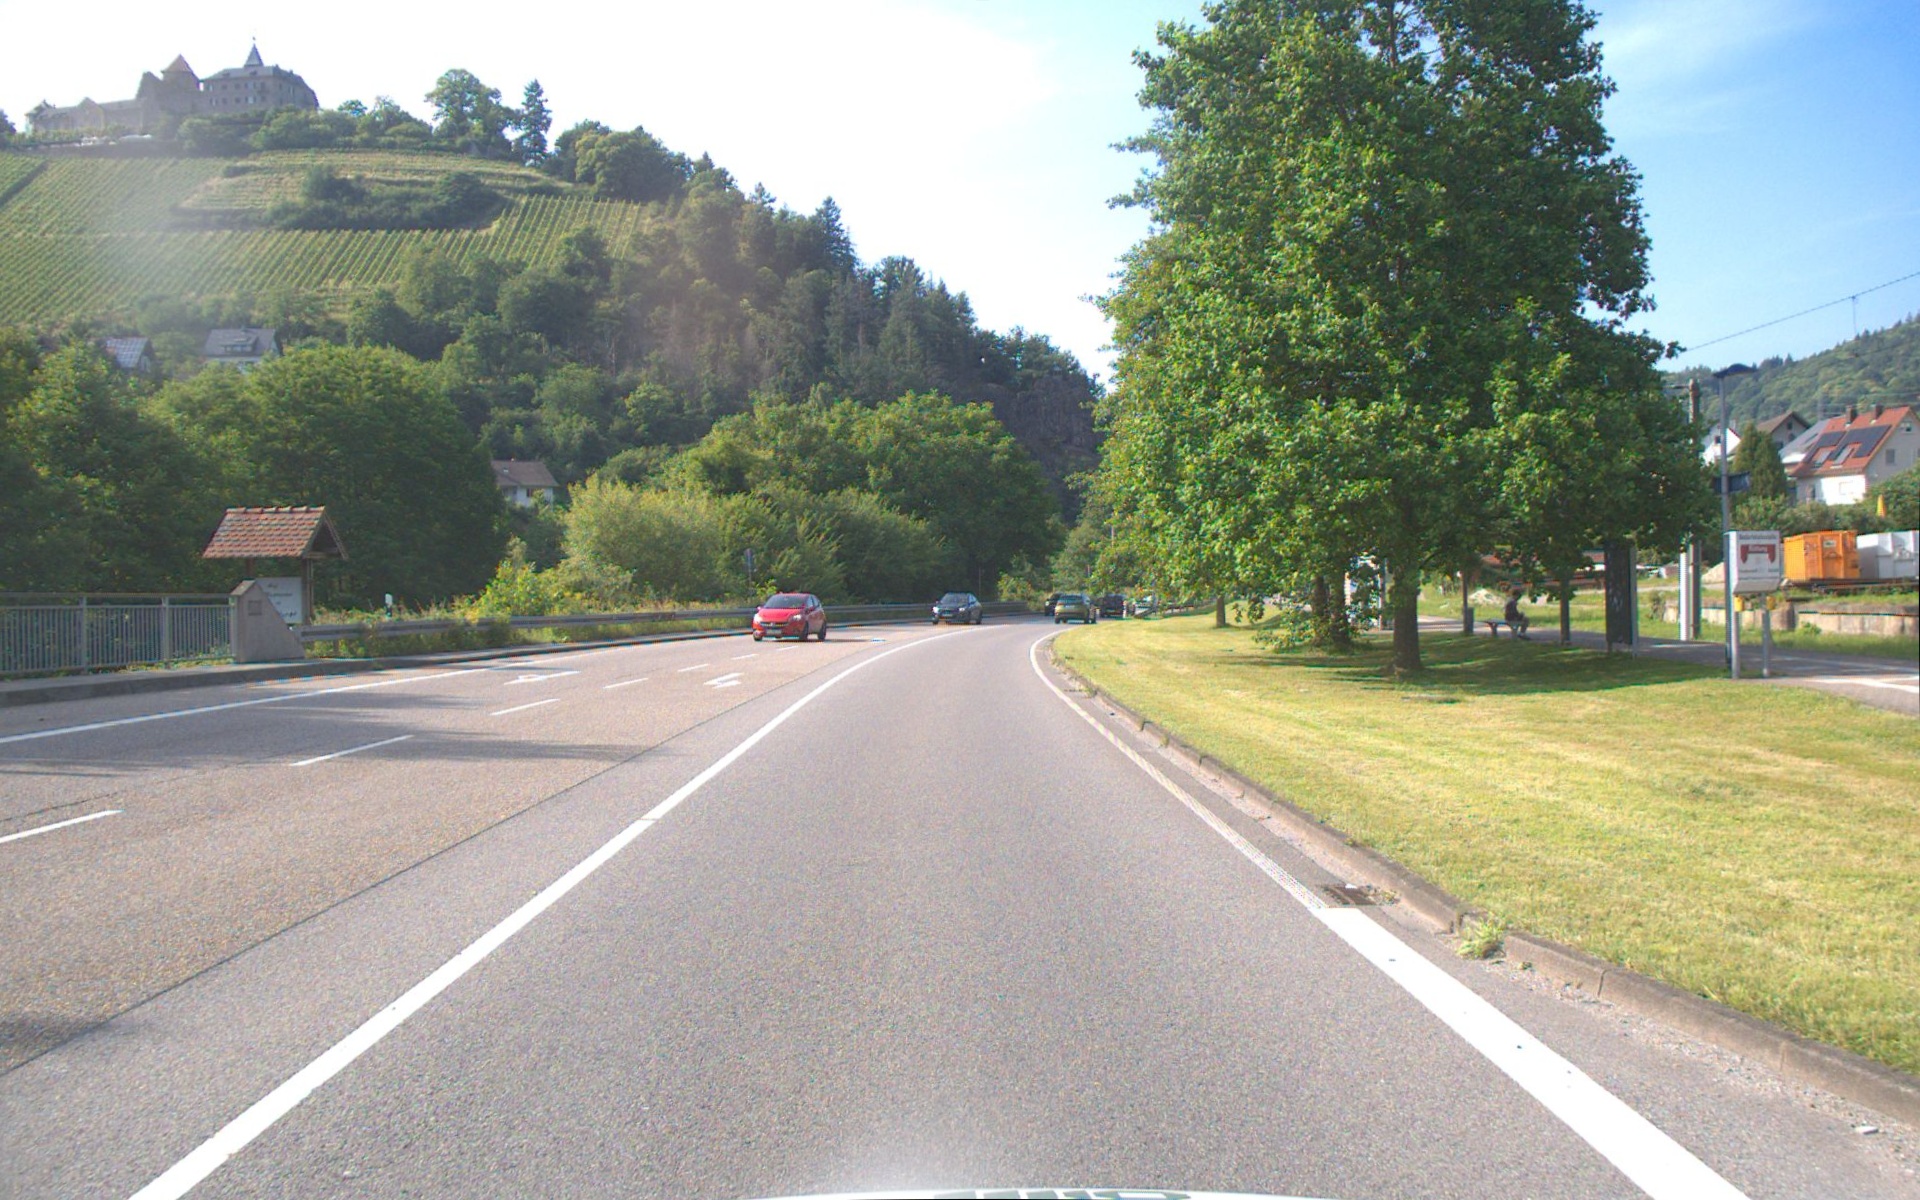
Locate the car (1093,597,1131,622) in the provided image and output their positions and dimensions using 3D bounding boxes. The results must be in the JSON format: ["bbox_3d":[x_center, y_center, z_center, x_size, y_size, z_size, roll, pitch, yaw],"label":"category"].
[{"bbox_3d":[9.446,0.568,102.651,1.801,1.485,3.716,-2,0,13],"label":"car"}]

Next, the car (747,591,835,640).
[{"bbox_3d":[-5.324,0.472,52.606,1.639,1.485,4.205,0,0,11],"label":"car"}]

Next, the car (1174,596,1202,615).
[{"bbox_3d":[19.033,0.453,138.141,1.768,1.478,3.650,-2,0,16],"label":"car"}]

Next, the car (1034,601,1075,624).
[{"bbox_3d":[6.103,0.789,106.637,1.658,1.426,4.204,0,0,18],"label":"car"}]

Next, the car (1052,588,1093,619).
[{"bbox_3d":[5.722,0.182,83.898,1.691,1.482,3.413,-2,0,9],"label":"car"}]

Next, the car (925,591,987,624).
[{"bbox_3d":[-0.166,0.349,80.534,1.812,1.495,4.545,1,0,16],"label":"car"}]

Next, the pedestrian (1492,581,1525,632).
[{"bbox_3d":[12.994,0.158,39.224,0.622,1.181,0.727,-2,0,12],"label":"pedestrian"}]
